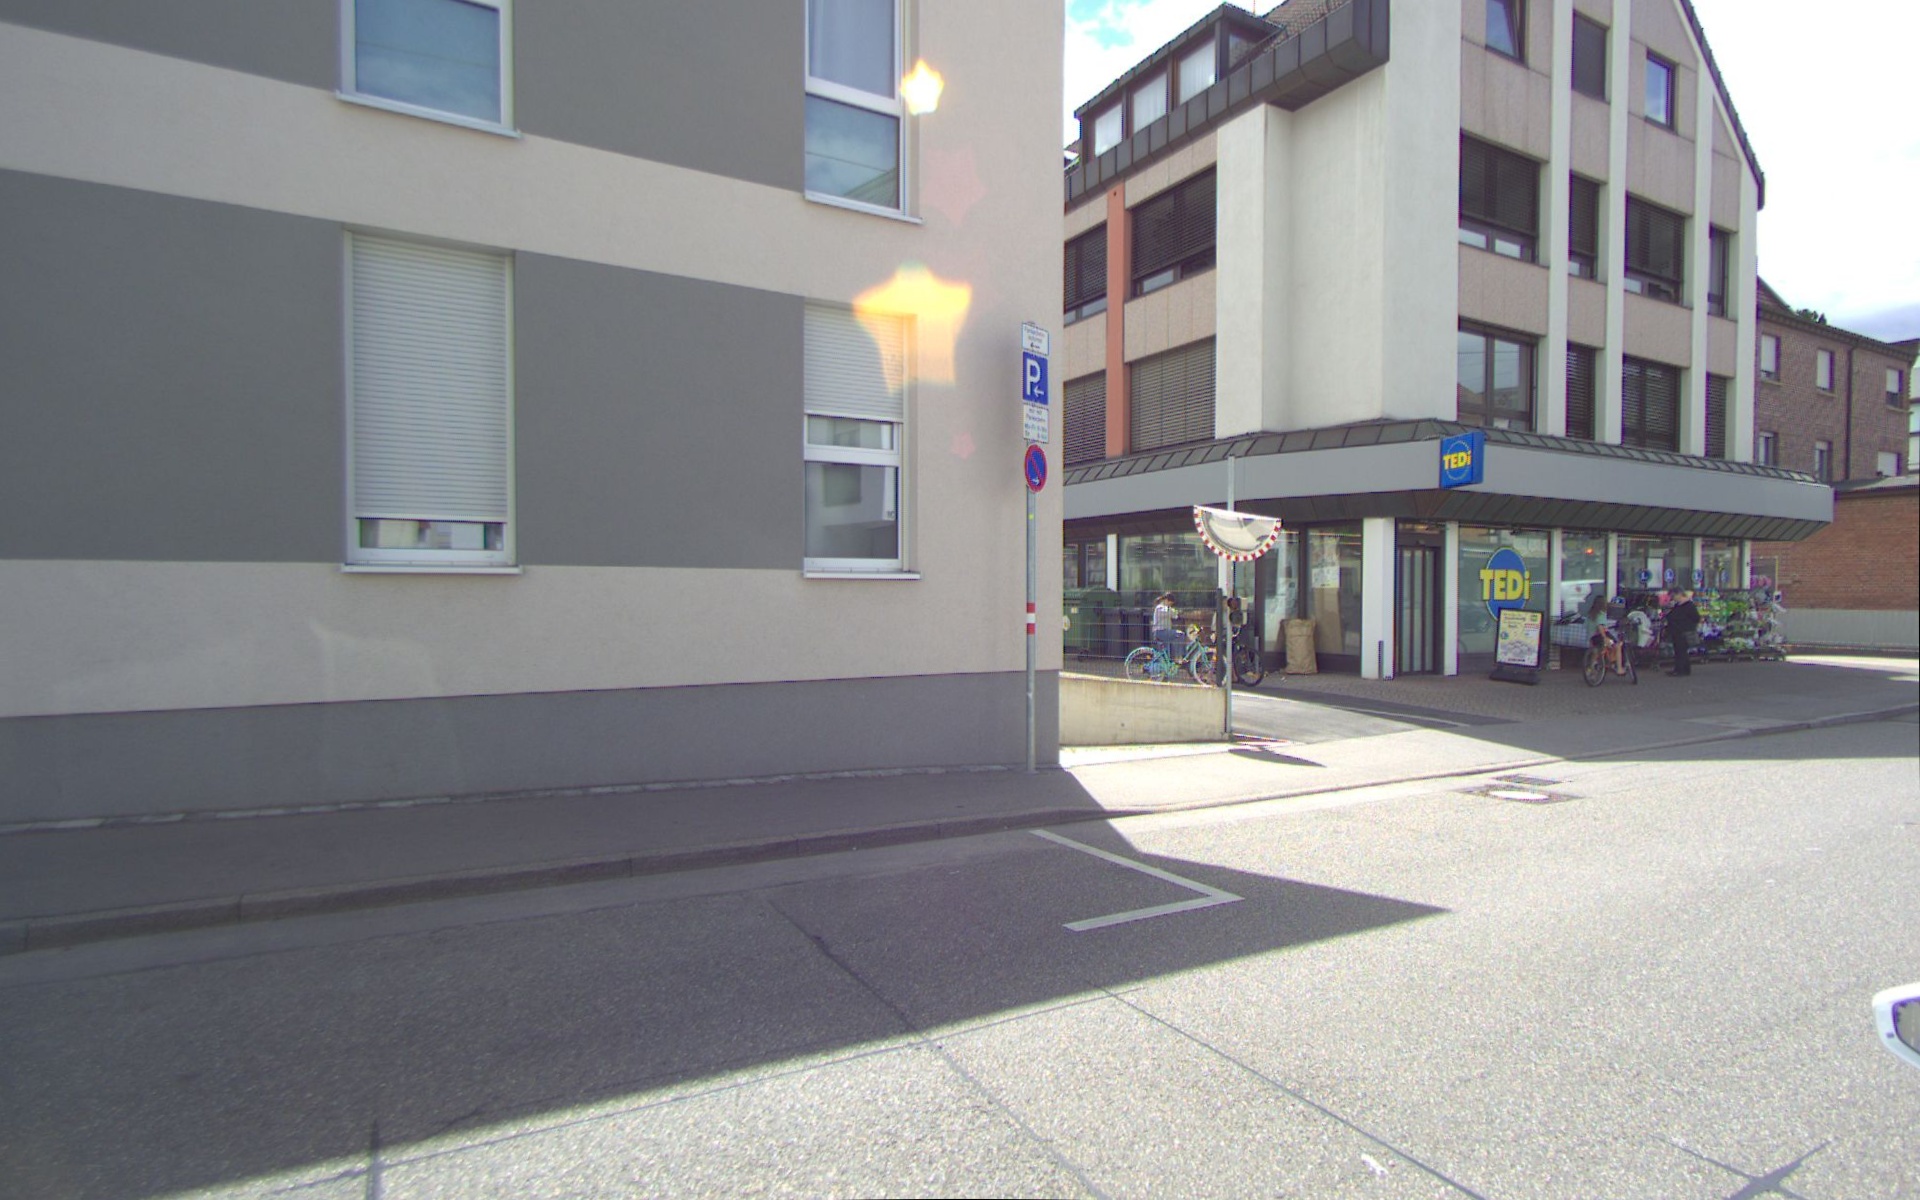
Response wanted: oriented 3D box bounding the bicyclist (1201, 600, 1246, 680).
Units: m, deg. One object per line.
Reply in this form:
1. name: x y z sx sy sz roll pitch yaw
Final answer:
1. bicyclist: 4.028 0.600 15.368 0.392 1.197 0.495 1 1 -30

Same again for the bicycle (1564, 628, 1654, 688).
1. bicycle: 10.480 0.911 16.202 1.756 0.873 0.465 0 2 -30

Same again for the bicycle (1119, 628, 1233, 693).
1. bicycle: 3.201 0.888 14.945 1.619 0.908 0.303 1 0 11

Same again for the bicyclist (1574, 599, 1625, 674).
1. bicyclist: 10.355 0.583 16.268 0.617 1.194 0.455 1 0 -30

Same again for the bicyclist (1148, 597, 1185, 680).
1. bicyclist: 3.074 0.566 14.972 0.489 1.197 0.397 2 1 11

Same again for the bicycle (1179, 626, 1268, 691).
1. bicycle: 4.000 0.867 15.371 0.299 0.908 1.543 1 0 -31

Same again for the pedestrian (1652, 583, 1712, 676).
1. pedestrian: 12.845 0.512 17.869 0.555 1.624 0.626 2 1 -23
